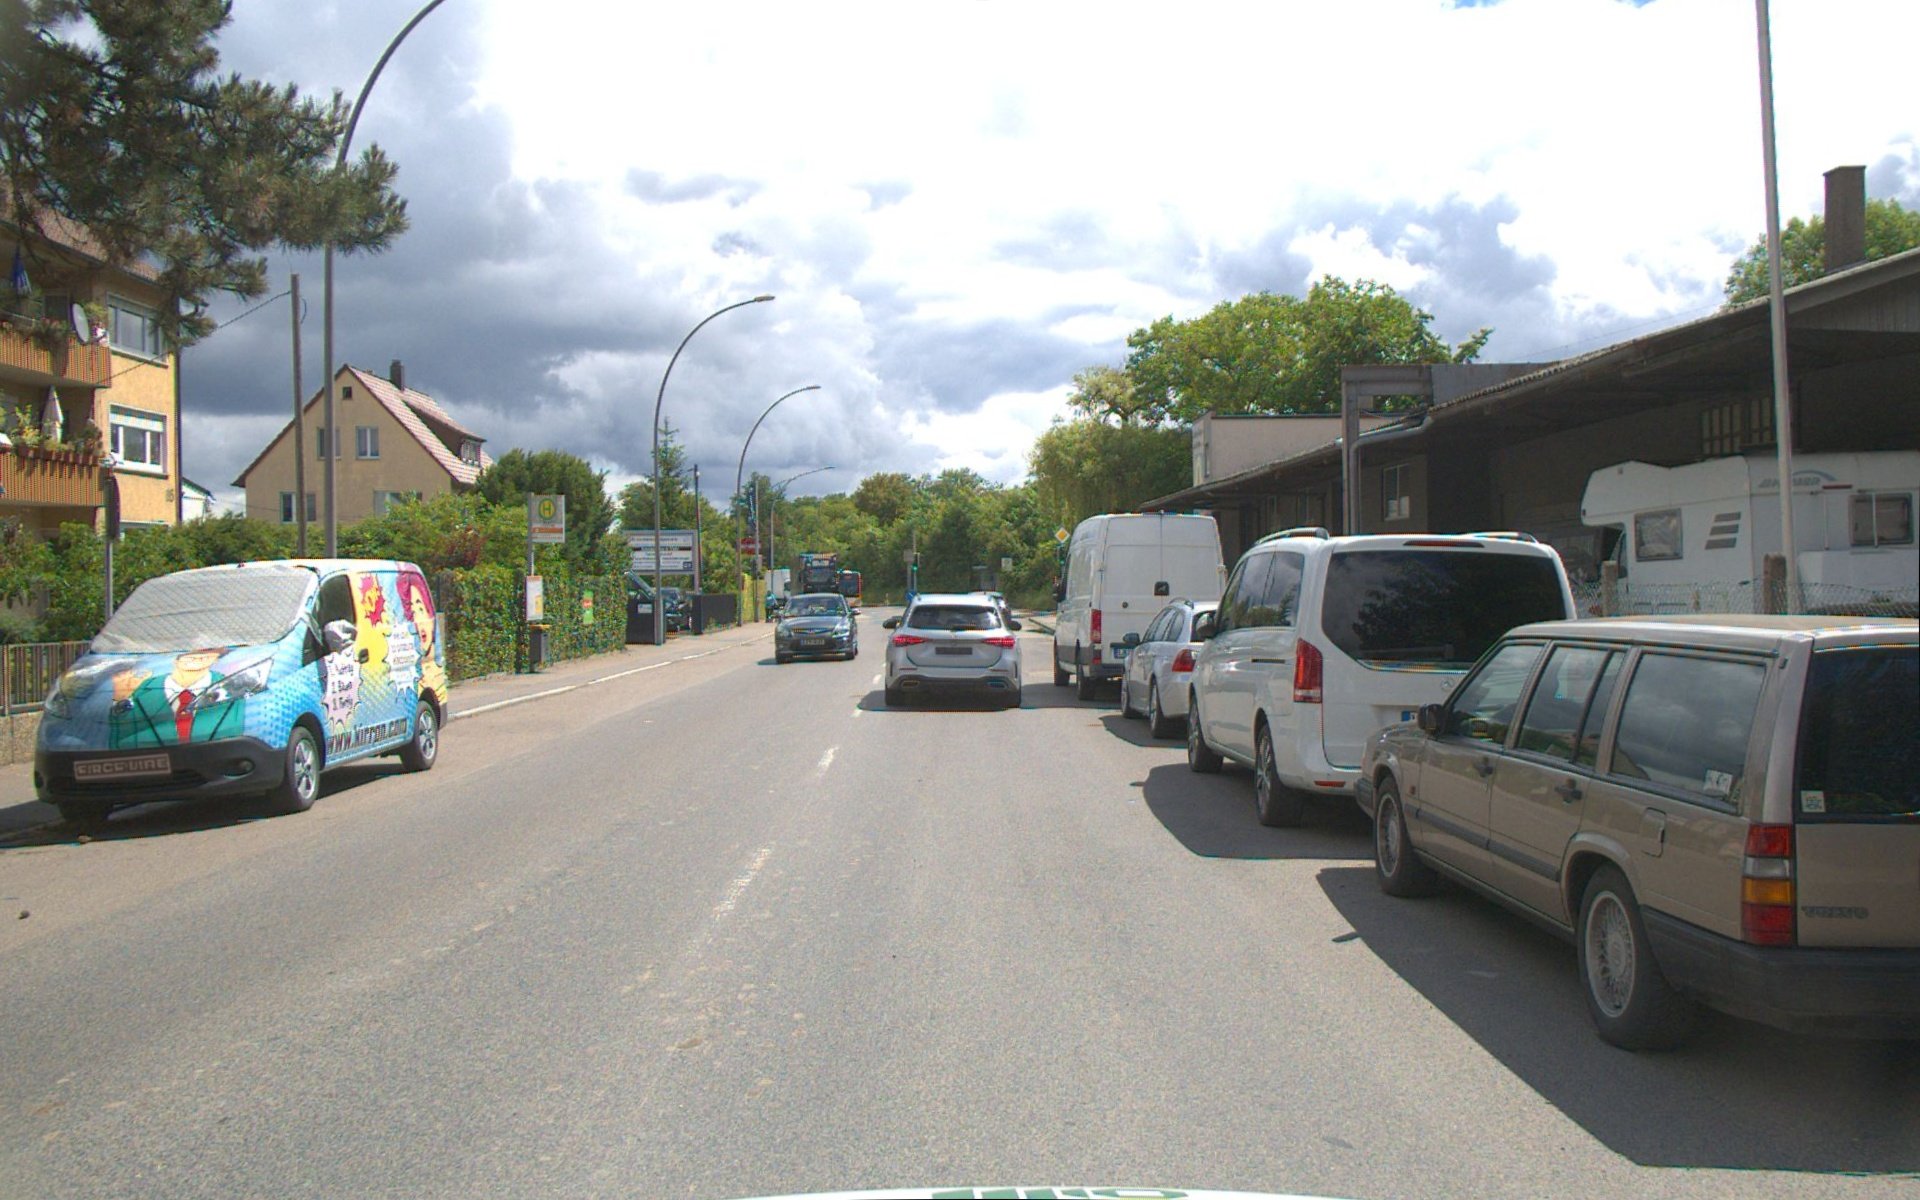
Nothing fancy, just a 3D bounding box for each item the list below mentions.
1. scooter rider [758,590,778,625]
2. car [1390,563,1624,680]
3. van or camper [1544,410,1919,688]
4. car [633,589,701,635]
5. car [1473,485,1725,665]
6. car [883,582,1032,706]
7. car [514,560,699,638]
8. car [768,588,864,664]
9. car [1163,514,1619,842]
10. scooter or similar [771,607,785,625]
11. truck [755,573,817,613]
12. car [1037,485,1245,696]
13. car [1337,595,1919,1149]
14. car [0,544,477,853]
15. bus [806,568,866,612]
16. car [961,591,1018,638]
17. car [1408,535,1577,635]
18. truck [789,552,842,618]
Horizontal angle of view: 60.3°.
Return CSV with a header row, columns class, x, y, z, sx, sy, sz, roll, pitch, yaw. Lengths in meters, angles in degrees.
class,x,y,z,sx,sy,sz,roll,pitch,yaw
scooter rider,-9.187,0.354,79.284,0.860,1.617,0.796,-1,0,-1
car,7.842,0.238,24.215,1.728,1.515,4.926,-1,1,-1
van or camper,10.572,-0.604,22.155,2.823,3.114,6.910,-1,0,-2
car,-10.941,0.416,62.098,1.991,1.623,4.281,-1,0,-3
car,10.684,-0.457,28.185,1.977,2.728,5.496,-1,1,-2
car,-0.040,0.538,22.613,1.846,1.535,4.000,-1,0,0
car,-12.359,-0.049,58.111,5.914,2.540,2.477,-1,0,-1
car,-3.175,0.546,37.294,1.862,1.544,4.317,-2,0,-2
car,2.884,0.449,12.472,1.867,1.918,5.388,1,0,-2
scooter or similar,-8.676,0.754,78.799,0.599,0.846,0.659,1,0,-1
truck,-16.361,-0.595,154.922,2.804,3.602,9.647,-1,0,-25
car,2.567,-0.143,25.300,2.170,2.736,6.655,-2,0,-2
car,3.046,0.741,6.958,1.719,1.476,4.993,1,0,0
car,-5.522,0.598,13.230,1.796,1.885,4.895,-4,1,-1
bus,-10.275,-0.754,135.818,2.731,3.323,12.077,-2,0,-14
car,0.963,0.462,55.912,1.846,1.535,4.000,-1,0,-1
car,11.161,-0.329,35.047,1.953,1.943,4.852,-1,1,-1
truck,-9.831,-0.961,111.902,2.386,4.203,9.122,1,0,-12
